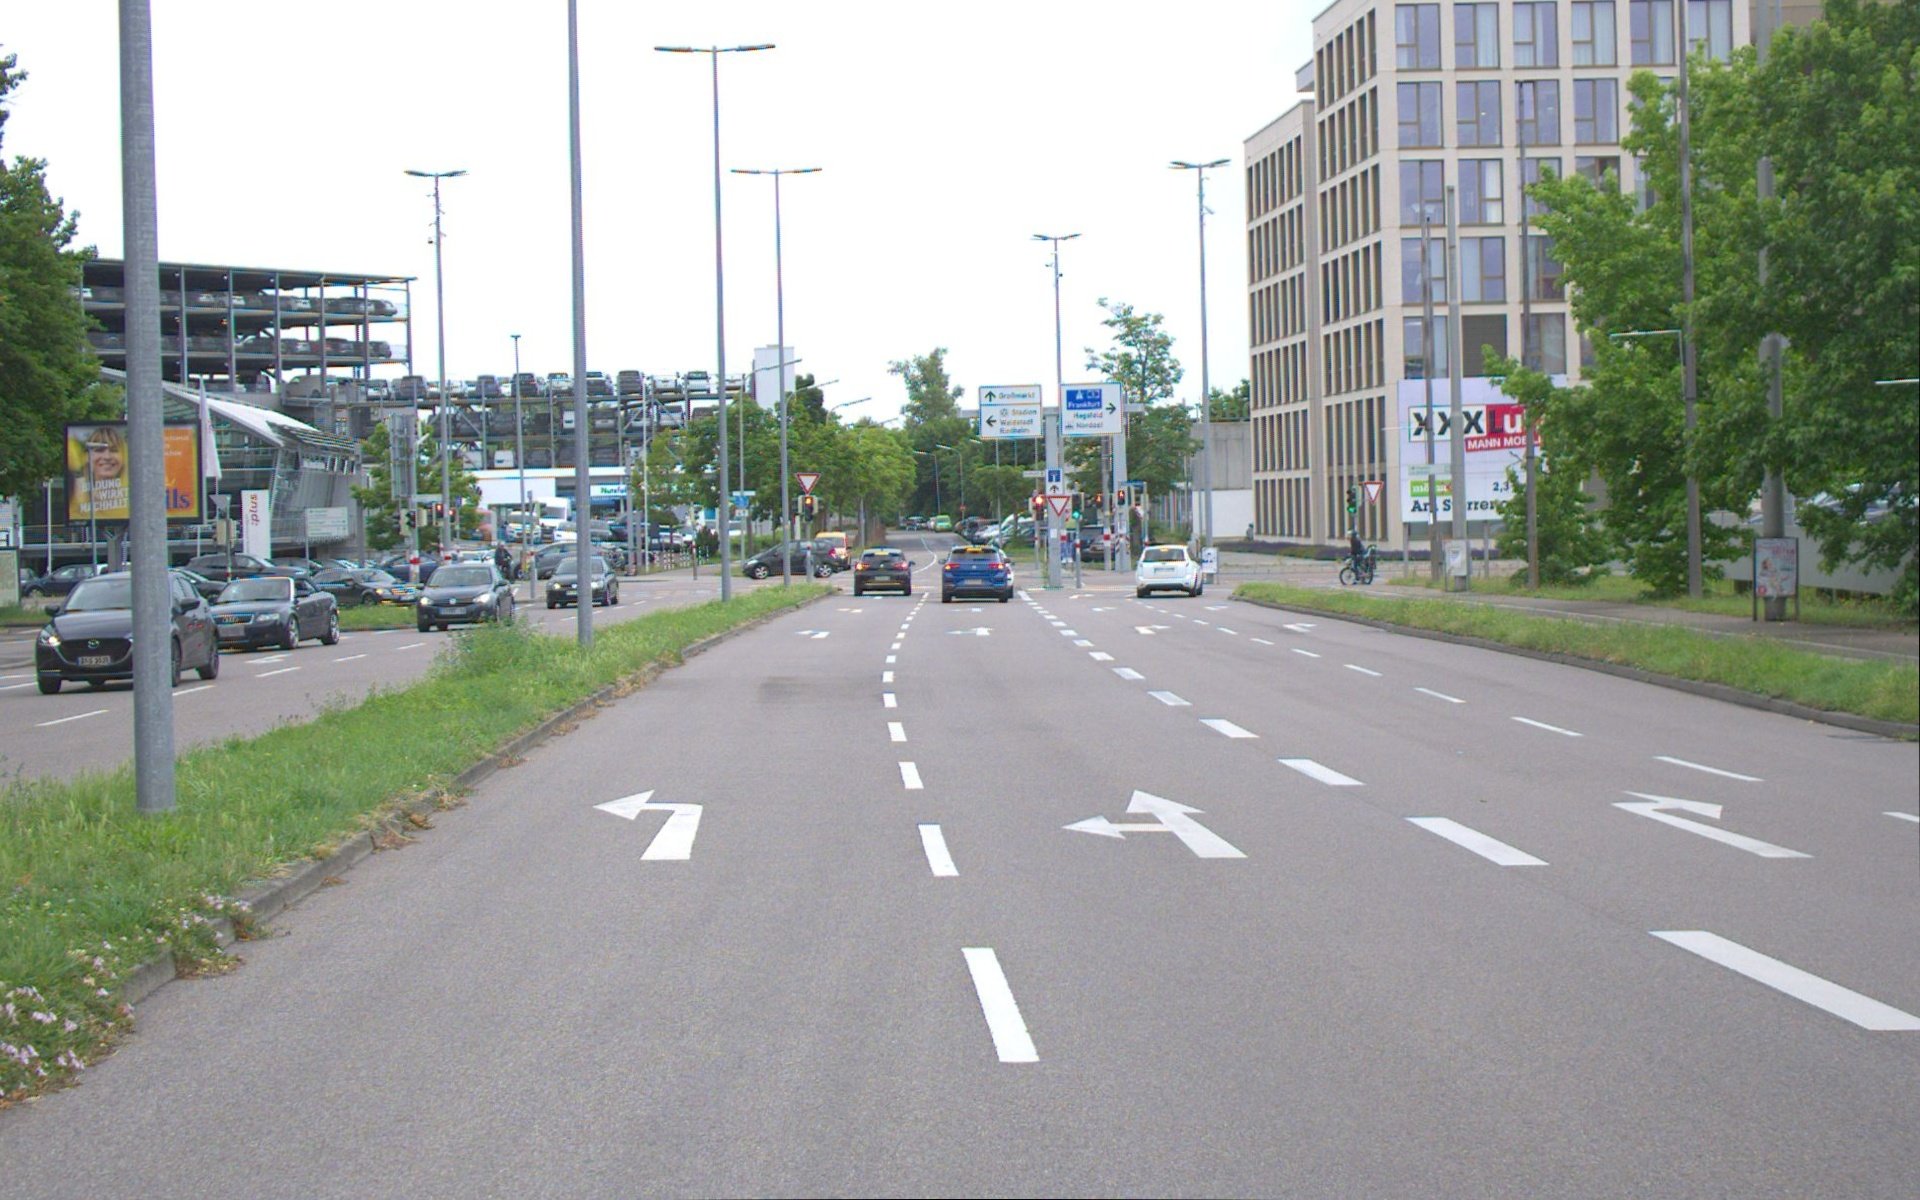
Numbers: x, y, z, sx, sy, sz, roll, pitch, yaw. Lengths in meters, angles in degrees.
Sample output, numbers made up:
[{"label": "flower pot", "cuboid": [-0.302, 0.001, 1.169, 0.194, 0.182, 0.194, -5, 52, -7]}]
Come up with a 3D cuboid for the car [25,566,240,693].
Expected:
[{"label": "car", "cuboid": [-10.570, 0.340, 44.155, 1.758, 1.448, 4.000, -3, 1, -1]}]

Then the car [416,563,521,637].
[{"label": "car", "cuboid": [-10.833, -0.022, 76.034, 1.780, 1.450, 4.183, -3, 1, -2]}]

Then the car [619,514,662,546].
[{"label": "car", "cuboid": [-18.027, -3.966, 194.233, 1.776, 1.700, 3.916, -1, 3, 4]}]

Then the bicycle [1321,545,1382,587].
[{"label": "bicycle", "cuboid": [12.273, -1.073, 107.695, 0.700, 1.291, 2.011, -2, 2, -37]}]

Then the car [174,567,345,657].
[{"label": "car", "cuboid": [-12.696, 0.197, 62.553, 1.772, 1.447, 4.404, -3, 1, 5]}]

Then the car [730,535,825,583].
[{"label": "car", "cuboid": [-7.278, -1.631, 137.031, 3.675, 1.765, 1.746, -1, 3, -6]}]

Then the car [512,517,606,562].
[{"label": "car", "cuboid": [-17.514, -2.648, 150.179, 3.986, 1.784, 1.848, -1, 3, -5]}]

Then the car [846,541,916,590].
[{"label": "car", "cuboid": [-2.435, -1.045, 105.108, 1.987, 1.423, 4.242, -1, 0, -3]}]

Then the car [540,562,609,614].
[{"label": "car", "cuboid": [-11.199, -0.369, 100.042, 1.930, 1.451, 4.183, -1, 1, -6]}]

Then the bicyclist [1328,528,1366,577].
[{"label": "bicyclist", "cuboid": [12.137, -1.492, 107.870, 0.700, 1.498, 1.000, -2, 2, -37]}]

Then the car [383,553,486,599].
[{"label": "car", "cuboid": [-20.374, -0.943, 133.489, 3.855, 1.629, 1.725, -1, 3, -6]}]

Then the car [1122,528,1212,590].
[{"label": "car", "cuboid": [6.090, -1.220, 100.731, 1.994, 1.746, 4.178, -1, 1, 13]}]

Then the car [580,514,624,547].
[{"label": "car", "cuboid": [-20.217, -3.924, 194.178, 1.776, 1.700, 3.916, -1, 3, 4]}]

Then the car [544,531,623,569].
[{"label": "car", "cuboid": [-17.626, -2.356, 160.939, 3.604, 1.662, 1.549, -1, 3, -5]}]

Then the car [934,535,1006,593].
[{"label": "car", "cuboid": [0.253, -0.976, 93.648, 1.835, 1.509, 4.000, -1, 1, -1]}]

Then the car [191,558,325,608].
[{"label": "car", "cuboid": [-24.443, -0.610, 119.811, 4.415, 1.654, 2.000, -1, 1, -7]}]
